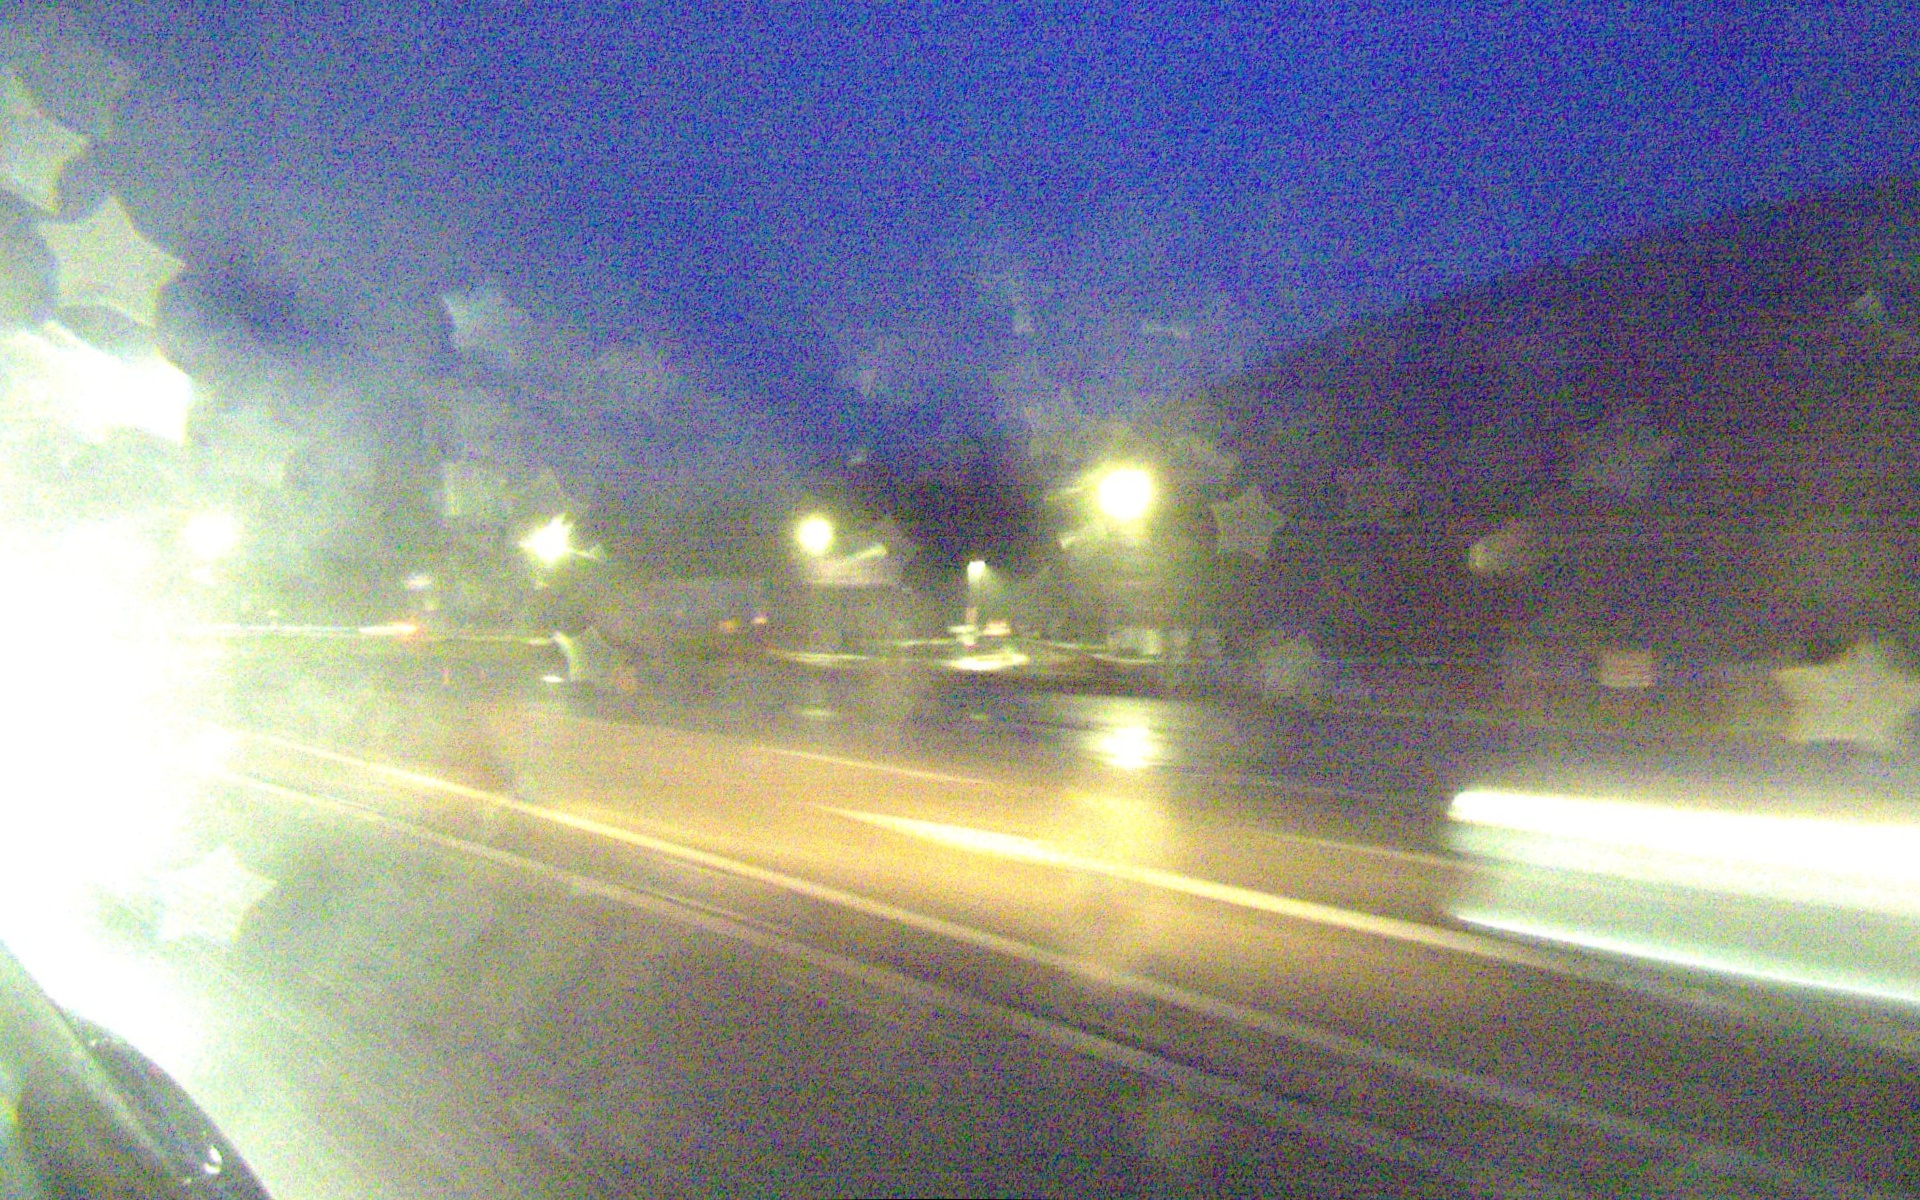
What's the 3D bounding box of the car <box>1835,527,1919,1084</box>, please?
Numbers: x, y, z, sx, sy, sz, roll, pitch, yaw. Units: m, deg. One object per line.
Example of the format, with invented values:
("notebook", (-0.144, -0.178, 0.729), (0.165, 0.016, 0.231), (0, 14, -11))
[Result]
("car", (4.421, 0.531, 2.114), (3.860, 1.502, 1.634), (-1, 0, 43))
